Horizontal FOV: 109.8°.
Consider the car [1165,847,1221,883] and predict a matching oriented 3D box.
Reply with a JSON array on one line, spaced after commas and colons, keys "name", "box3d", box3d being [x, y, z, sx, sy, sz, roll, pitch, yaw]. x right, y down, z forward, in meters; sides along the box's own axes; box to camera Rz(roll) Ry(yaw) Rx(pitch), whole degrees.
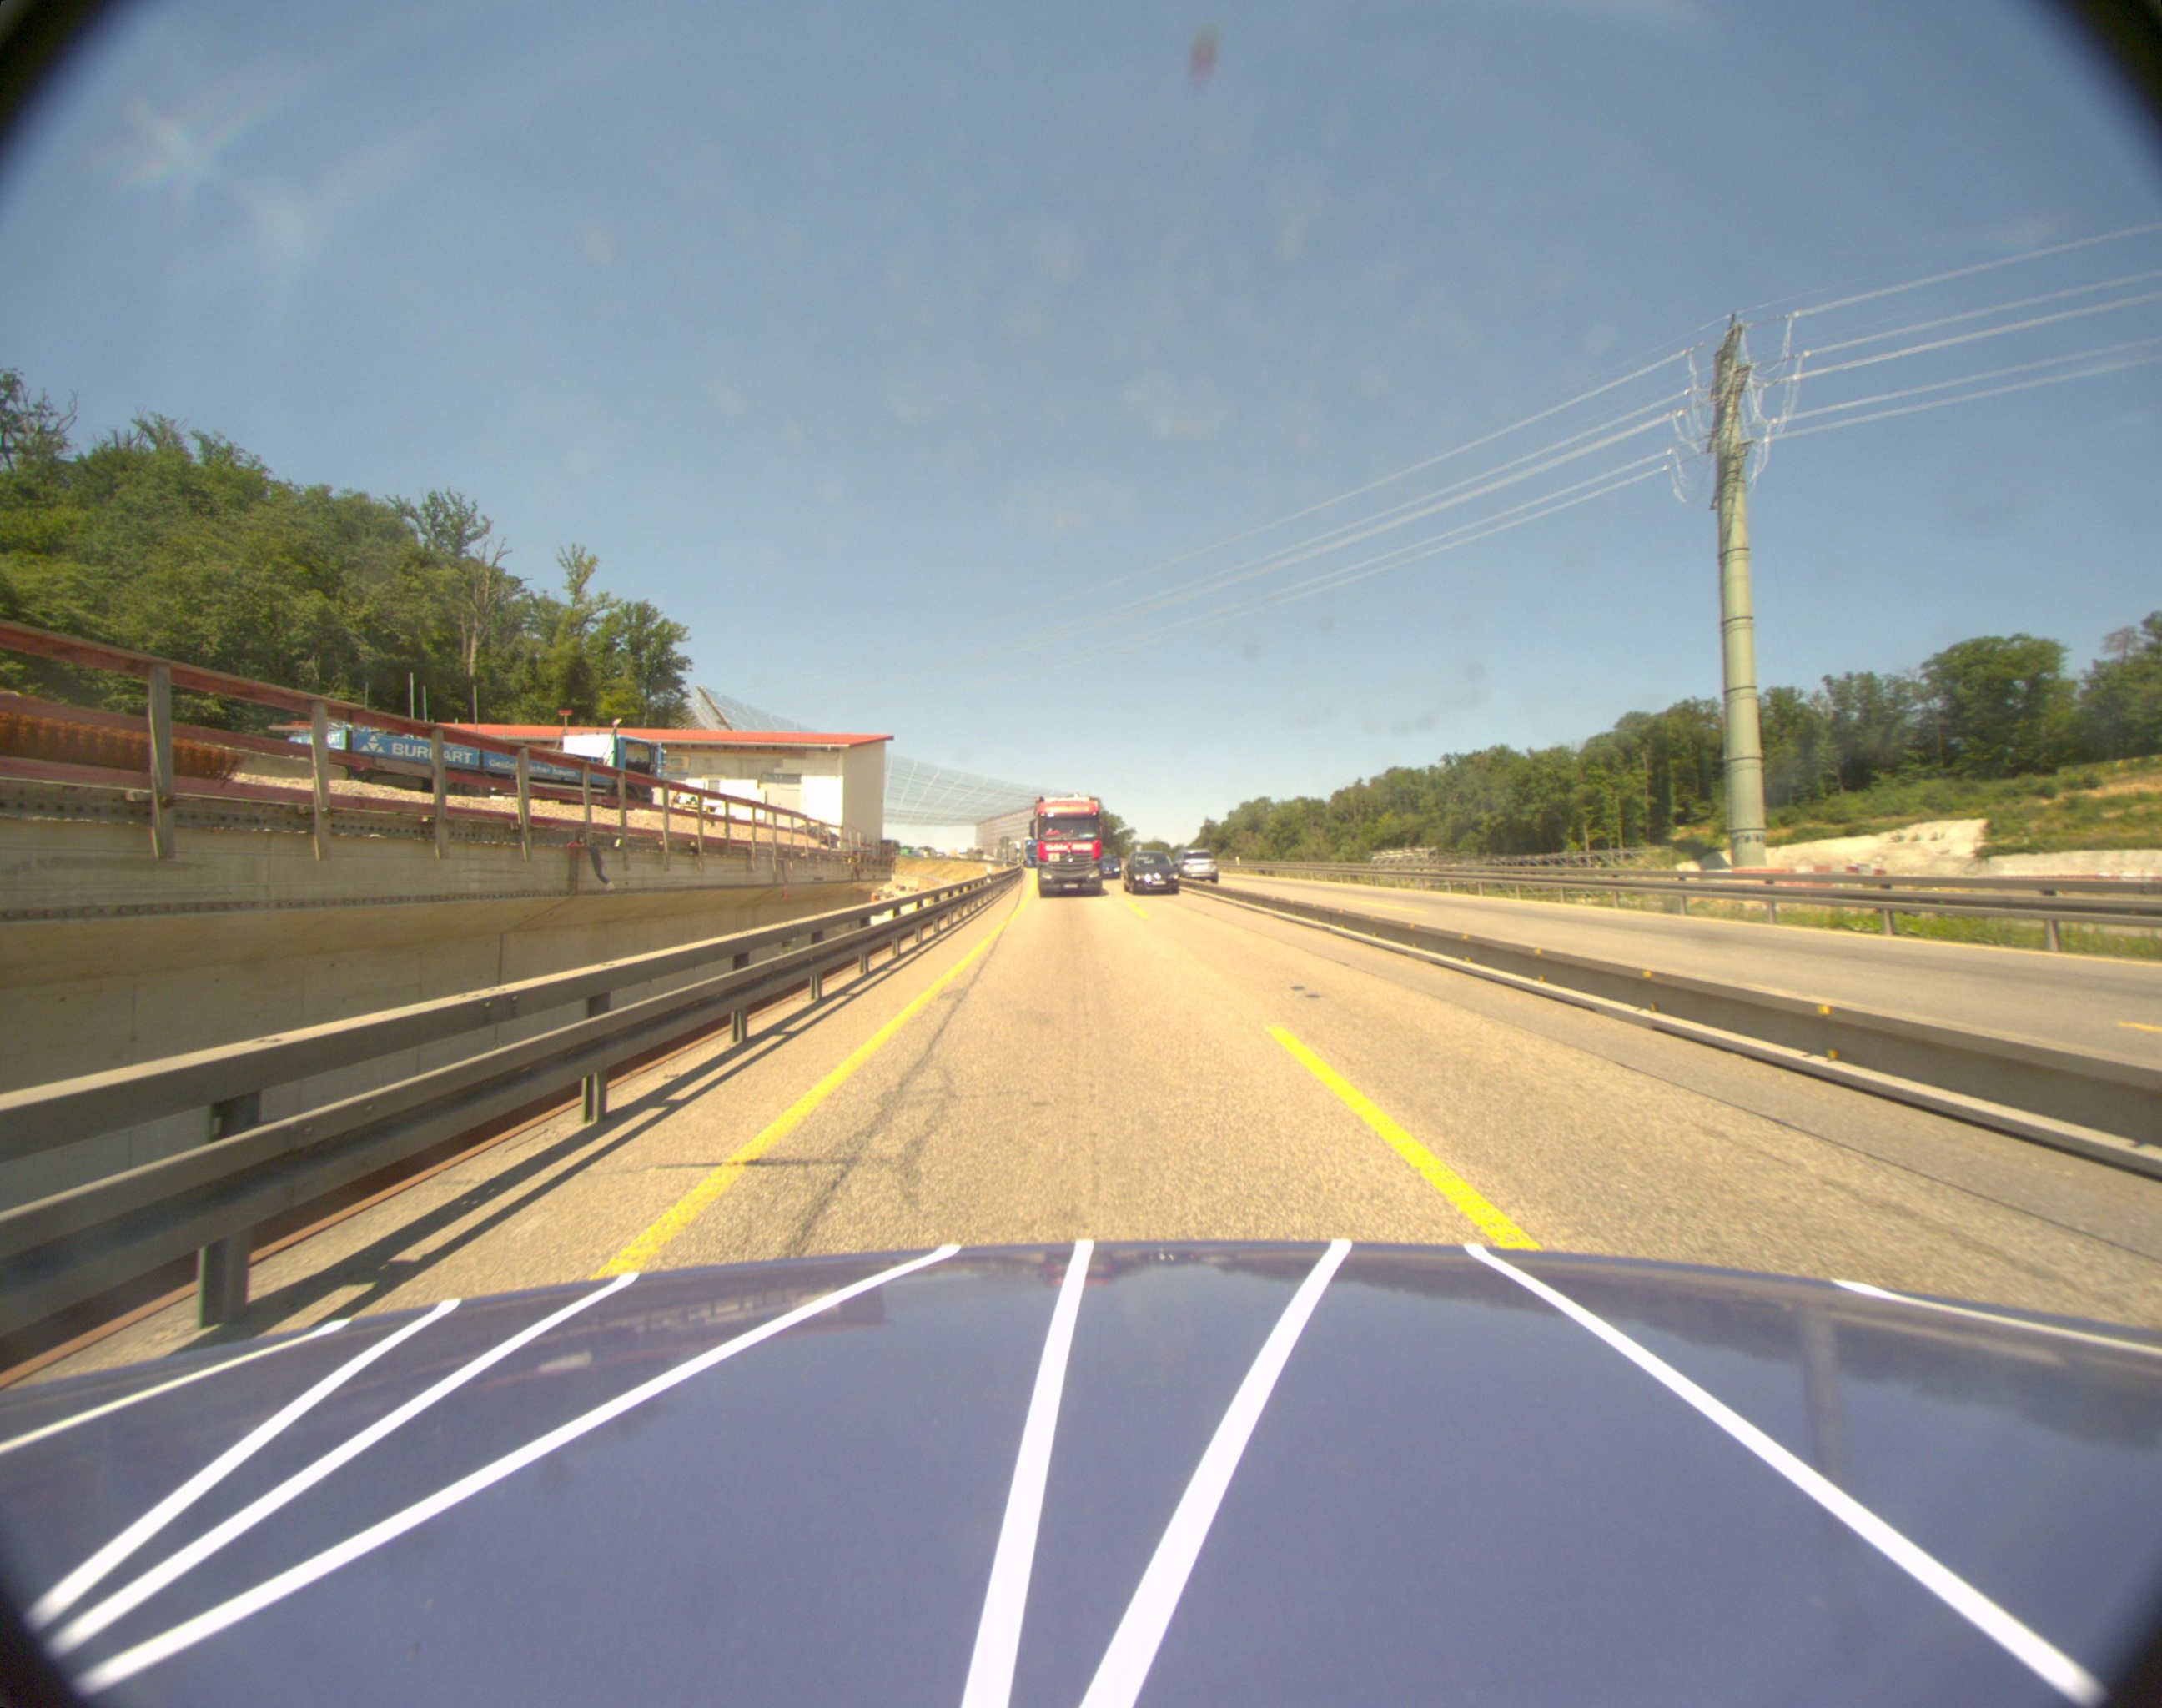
[{"name": "car", "box3d": [5.758, 0.538, 39.639, 1.917, 1.695, 4.734, -2, 0, -4]}]

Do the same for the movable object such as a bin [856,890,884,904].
[{"name": "movable object such as a bin", "box3d": [-41.429, 8.428, 149.116, 5.485, 2.621, 2.224, -1, 2, 34]}]

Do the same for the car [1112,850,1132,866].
[{"name": "car", "box3d": [4.315, 0.412, 79.831, 1.743, 1.632, 4.000, -2, 0, -1]}]

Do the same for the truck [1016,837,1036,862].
[{"name": "truck", "box3d": [-9.857, -0.911, 135.861, 2.911, 4.208, 9.233, -2, 1, -8]}]

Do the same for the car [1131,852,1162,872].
[{"name": "car", "box3d": [5.155, 0.632, 60.259, 1.917, 1.478, 4.476, -2, 0, -2]}]

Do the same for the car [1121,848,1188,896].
[{"name": "car", "box3d": [2.841, 0.690, 30.576, 1.862, 1.695, 5.302, -2, 0, -3]}]

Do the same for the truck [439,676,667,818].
[{"name": "truck", "box3d": [-17.441, -3.314, 25.576, 2.713, 3.672, 5.721, -1, -2, 22]}]

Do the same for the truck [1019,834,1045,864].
[{"name": "truck", "box3d": [-7.015, -0.727, 107.902, 2.673, 3.986, 10.420, -2, 1, -8]}]

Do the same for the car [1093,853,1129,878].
[{"name": "car", "box3d": [1.936, 0.766, 50.372, 1.896, 1.546, 4.785, -2, 0, -3]}]

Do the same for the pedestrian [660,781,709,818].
[{"name": "pedestrian", "box3d": [-13.129, -1.800, 25.215, 1.022, 1.144, 0.994, -2, 1, 4]}]

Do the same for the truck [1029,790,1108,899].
[{"name": "truck", "box3d": [-0.562, -0.433, 33.433, 2.798, 3.986, 10.426, -2, 1, -1]}]

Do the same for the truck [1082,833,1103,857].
[{"name": "truck", "box3d": [1.879, -1.689, 133.705, 2.808, 3.978, 10.545, -2, 2, -3]}]

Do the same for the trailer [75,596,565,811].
[{"name": "trailer", "box3d": [-19.416, -3.424, 20.582, 2.713, 3.671, 9.013, -1, -2, 22]}]

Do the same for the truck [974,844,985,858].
[{"name": "truck", "box3d": [-30.561, -1.013, 227.995, 3.043, 4.033, 8.667, -2, 1, -9]}]

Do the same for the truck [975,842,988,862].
[{"name": "truck", "box3d": [-25.471, -0.550, 194.519, 3.043, 4.778, 8.933, -2, 1, -9]}]
